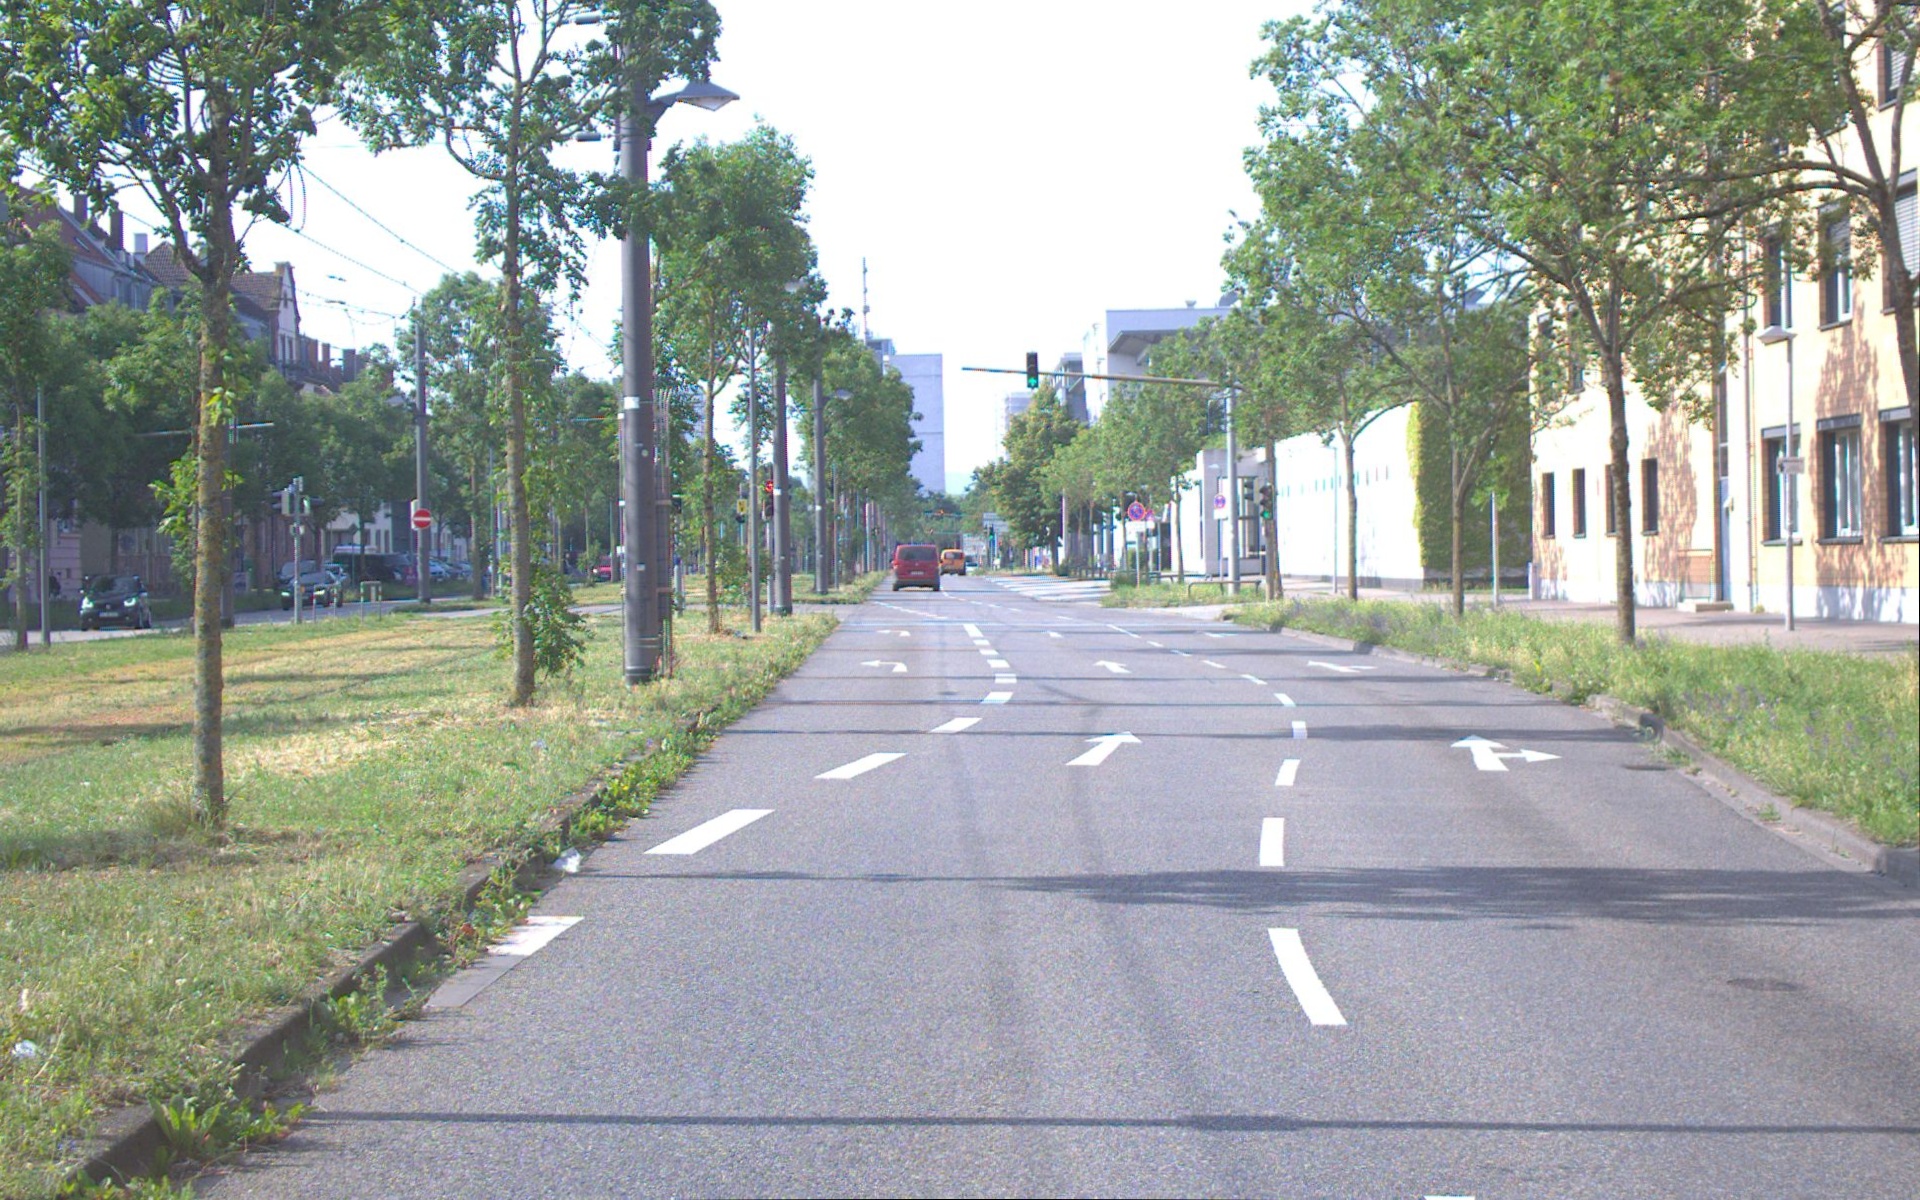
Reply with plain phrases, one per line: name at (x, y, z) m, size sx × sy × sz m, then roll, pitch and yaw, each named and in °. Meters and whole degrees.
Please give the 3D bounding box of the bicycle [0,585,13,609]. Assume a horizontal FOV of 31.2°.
bicycle at (-32.105, -0.108, 114.931) m, size 0.437 × 0.786 × 1.948 m, roll 1°, pitch 0°, yaw -2°

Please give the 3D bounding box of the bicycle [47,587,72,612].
bicycle at (-31.900, -0.026, 121.812) m, size 0.447 × 0.854 × 1.948 m, roll 1°, pitch 0°, yaw -2°

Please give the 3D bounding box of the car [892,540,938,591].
car at (-1.799, -1.373, 138.217) m, size 1.748 × 2.007 × 3.216 m, roll 1°, pitch 0°, yaw 0°

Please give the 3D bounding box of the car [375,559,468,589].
car at (-26.815, -1.289, 171.119) m, size 4.471 × 1.414 × 1.971 m, roll 2°, pitch 0°, yaw 37°

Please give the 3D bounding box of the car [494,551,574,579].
car at (-28.823, -2.378, 232.609) m, size 5.320 × 1.732 × 1.996 m, roll 2°, pitch 0°, yaw 33°

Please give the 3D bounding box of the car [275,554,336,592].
car at (-29.463, -1.233, 154.869) m, size 1.993 × 1.623 × 4.775 m, roll 1°, pitch 1°, yaw -2°

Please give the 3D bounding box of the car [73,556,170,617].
car at (-23.628, -0.391, 97.012) m, size 1.764 × 1.650 × 4.000 m, roll 1°, pitch 0°, yaw 0°

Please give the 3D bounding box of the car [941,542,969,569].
car at (-0.311, -2.907, 224.944) m, size 1.748 × 1.645 × 3.216 m, roll 1°, pitch 0°, yaw 0°

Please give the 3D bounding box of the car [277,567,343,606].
car at (-24.689, -0.506, 130.649) m, size 1.812 × 1.428 × 3.926 m, roll 1°, pitch 0°, yaw -1°
